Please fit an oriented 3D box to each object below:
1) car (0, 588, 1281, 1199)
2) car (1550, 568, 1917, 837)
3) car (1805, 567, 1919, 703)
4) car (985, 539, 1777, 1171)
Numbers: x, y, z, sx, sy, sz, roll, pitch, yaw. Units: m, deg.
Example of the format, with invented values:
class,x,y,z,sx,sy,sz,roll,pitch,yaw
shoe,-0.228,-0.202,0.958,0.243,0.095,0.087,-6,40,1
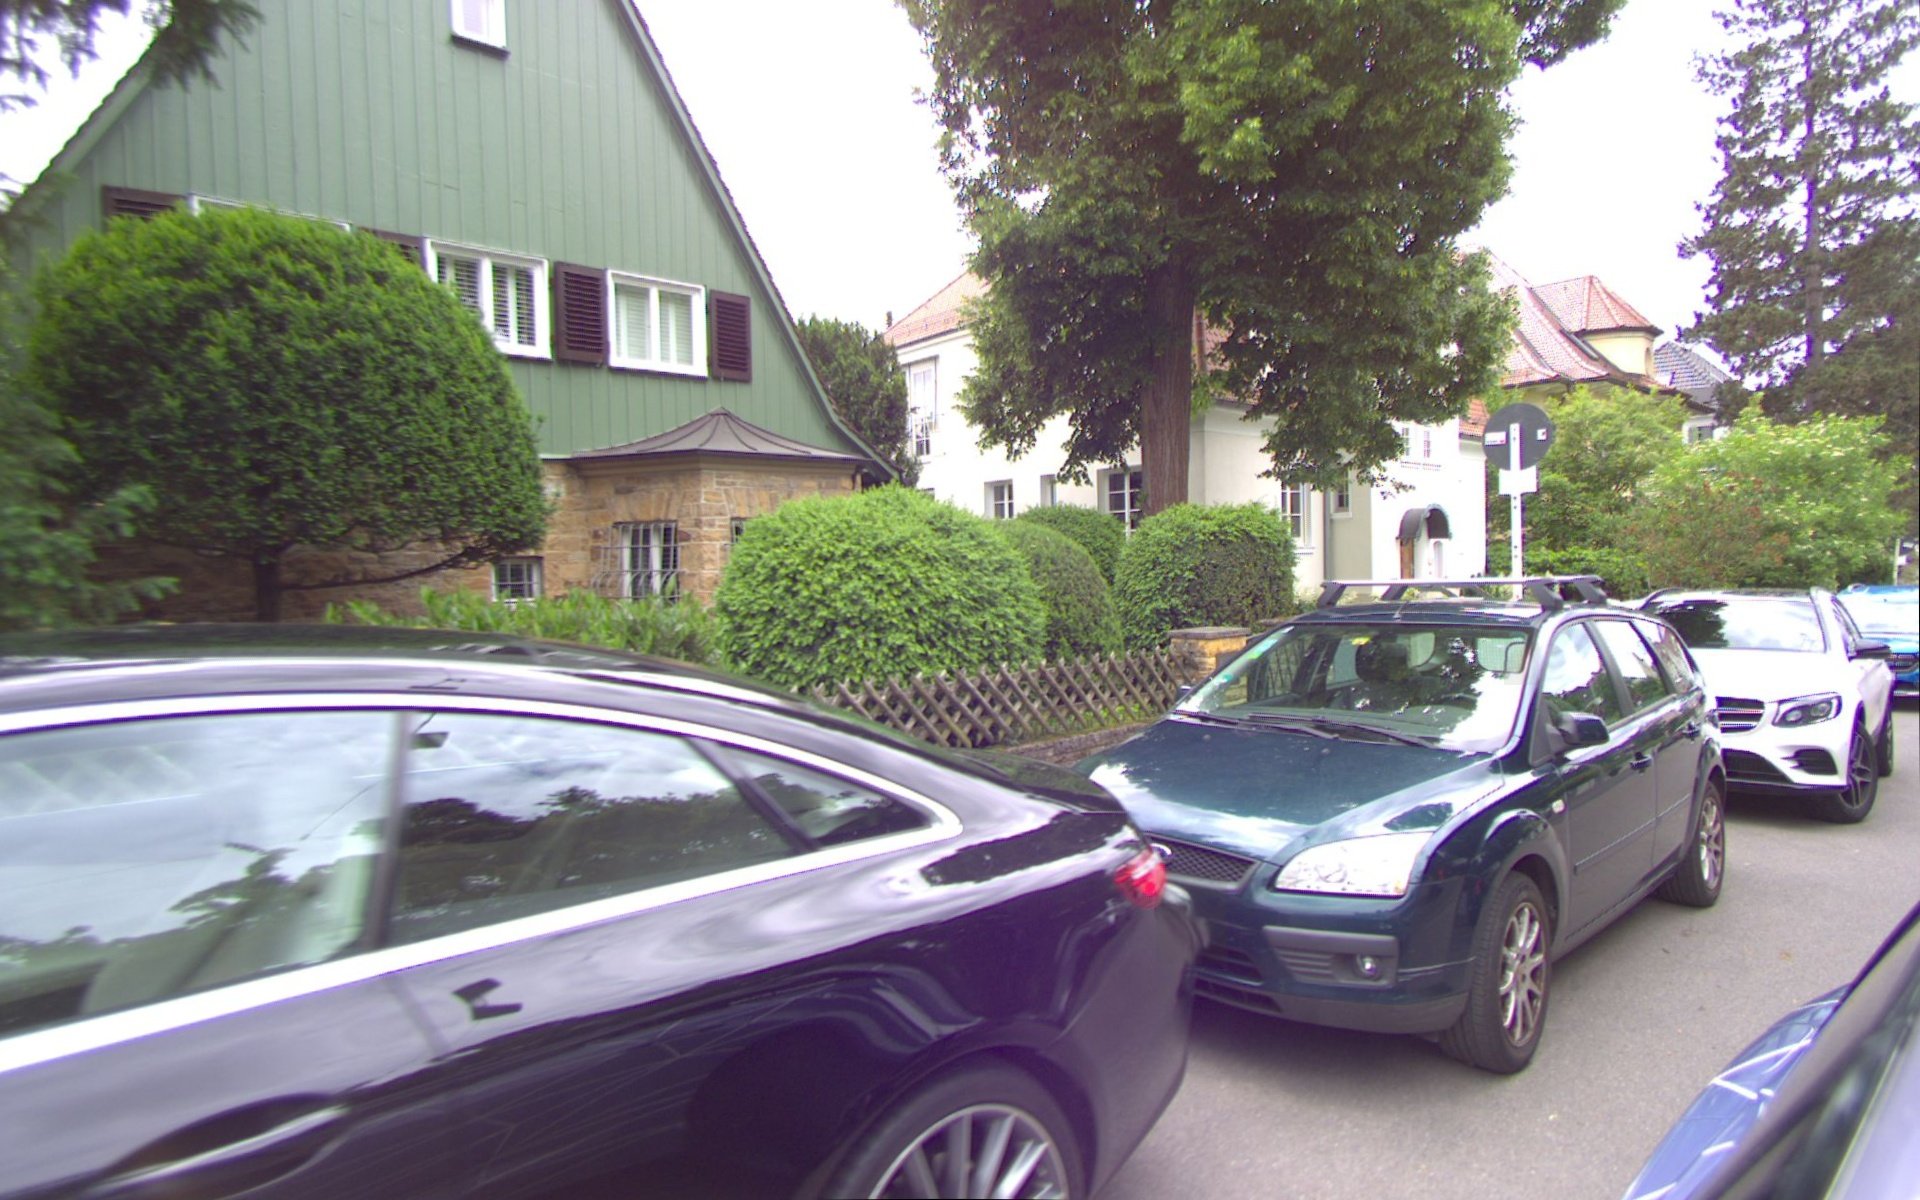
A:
class,x,y,z,sx,sy,sz,roll,pitch,yaw
car,-1.569,0.716,1.378,4.578,1.442,1.655,0,0,-40
car,6.554,0.614,8.356,4.499,1.626,1.758,0,0,-44
car,14.397,0.482,15.420,4.084,1.853,1.685,0,-2,-41
car,2.224,0.607,4.609,4.235,1.590,1.700,-1,1,-42
